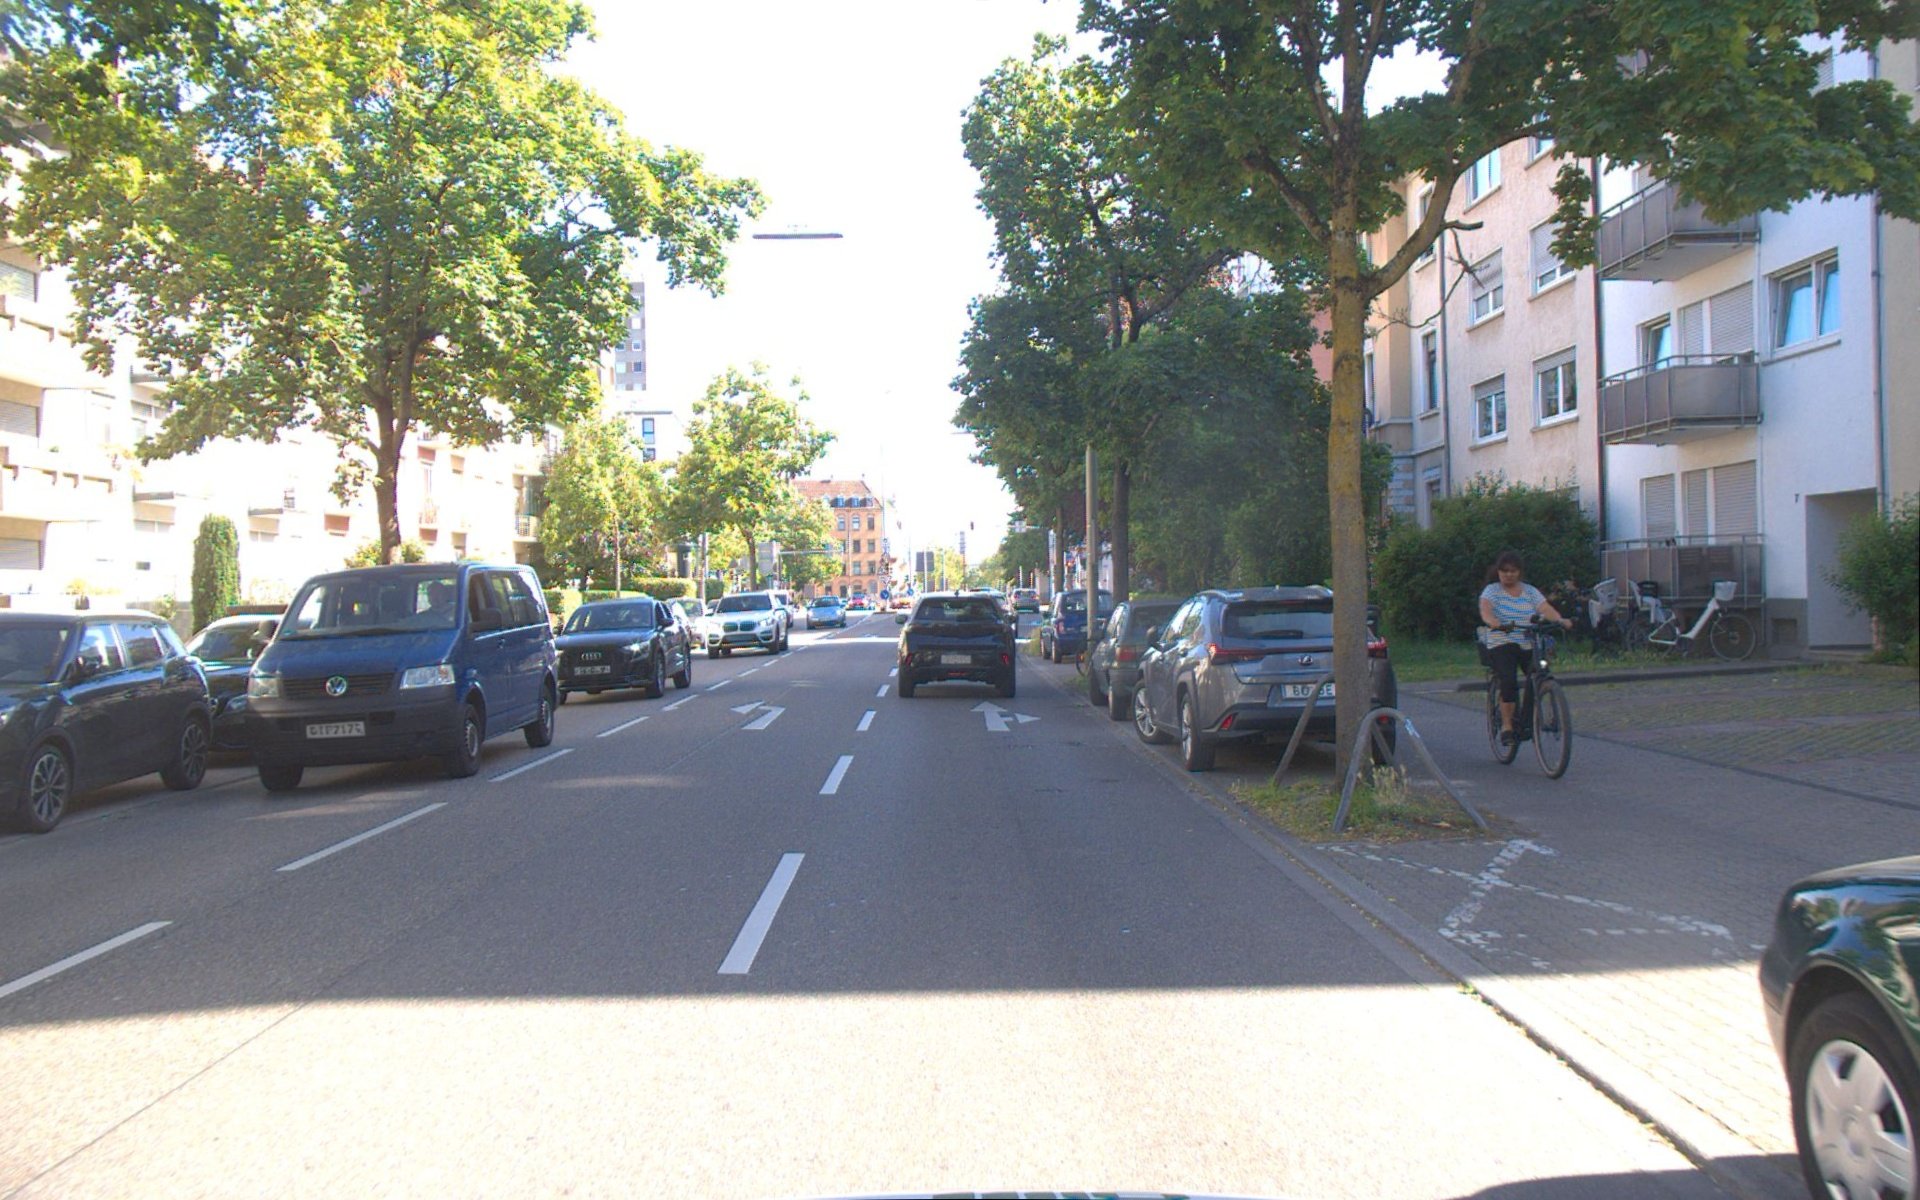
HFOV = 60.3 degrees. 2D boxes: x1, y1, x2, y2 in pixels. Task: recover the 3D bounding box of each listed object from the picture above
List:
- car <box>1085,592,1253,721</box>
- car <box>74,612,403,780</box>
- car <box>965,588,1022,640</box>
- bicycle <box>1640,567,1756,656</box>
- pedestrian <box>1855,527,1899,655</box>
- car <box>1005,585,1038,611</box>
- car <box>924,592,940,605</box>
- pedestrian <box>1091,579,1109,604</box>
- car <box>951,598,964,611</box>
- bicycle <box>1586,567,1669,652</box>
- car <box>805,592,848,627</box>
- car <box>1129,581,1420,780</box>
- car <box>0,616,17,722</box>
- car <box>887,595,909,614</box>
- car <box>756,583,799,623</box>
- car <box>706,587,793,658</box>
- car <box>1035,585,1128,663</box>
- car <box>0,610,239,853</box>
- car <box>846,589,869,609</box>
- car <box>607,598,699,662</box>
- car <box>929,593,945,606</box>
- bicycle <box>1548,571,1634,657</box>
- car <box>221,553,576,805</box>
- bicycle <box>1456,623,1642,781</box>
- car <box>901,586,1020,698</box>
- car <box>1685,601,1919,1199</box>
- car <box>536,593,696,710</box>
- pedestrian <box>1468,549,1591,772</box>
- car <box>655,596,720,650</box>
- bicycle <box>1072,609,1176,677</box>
[{"bbox_3d":[2.560,0.639,21.074,1.579,1.407,3.976,-2,1,0],"label":"car"},{"bbox_3d":[-7.858,0.954,18.542,1.687,1.562,4.679,-1,0,-1],"label":"car"},{"bbox_3d":[1.096,0.455,55.708,1.793,1.606,3.839,-2,1,0],"label":"car"},{"bbox_3d":[11.266,0.178,25.264,1.506,1.244,0.463,-4,0,30],"label":"bicycle"},{"bbox_3d":[12.849,-0.127,23.182,0.357,1.767,0.365,2,0,-7],"label":"pedestrian"},{"bbox_3d":[3.694,-0.123,99.934,1.793,1.478,3.988,-2,1,0],"label":"car"},{"bbox_3d":[-3.349,-0.170,196.522,1.774,1.431,3.999,-2,1,-1],"label":"car"},{"bbox_3d":[9.501,-0.580,112.068,1.020,1.688,0.783,-2,0,-5],"label":"pedestrian"},{"bbox_3d":[-0.320,0.624,231.452,1.822,1.689,4.000,1,0,1],"label":"car"},{"bbox_3d":[10.957,0.140,27.194,0.579,1.309,1.689,-4,0,0],"label":"bicycle"},{"bbox_3d":[-6.117,0.426,75.959,1.702,1.405,3.935,-3,1,-2],"label":"car"},{"bbox_3d":[2.730,0.622,15.291,1.680,1.515,4.232,-2,1,-2],"label":"car"},{"bbox_3d":[-15.631,1.026,23.007,3.906,1.512,1.880,-1,1,-2],"label":"car"},{"bbox_3d":[-5.173,0.347,138.111,1.735,1.478,3.885,-2,1,-1],"label":"car"},{"bbox_3d":[-8.971,0.123,81.487,1.782,1.866,4.560,-1,0,-3],"label":"car"},{"bbox_3d":[-5.615,0.562,44.536,1.770,1.676,4.671,-4,1,-2],"label":"car"},{"bbox_3d":[2.641,0.497,36.621,1.528,1.541,3.653,-4,1,-3],"label":"car"},{"bbox_3d":[-7.526,0.932,13.291,1.687,1.624,4.135,-1,0,-1],"label":"car"},{"bbox_3d":[-9.186,-0.113,148.792,1.754,1.645,4.000,-2,1,0],"label":"car"},{"bbox_3d":[-8.165,0.766,44.340,1.749,1.519,4.492,-2,1,-2],"label":"car"},{"bbox_3d":[-2.895,-0.041,210.914,1.952,1.546,4.000,1,0,1],"label":"car"},{"bbox_3d":[10.290,0.206,27.029,0.610,1.309,1.842,-4,0,0],"label":"bicycle"},{"bbox_3d":[-5.169,0.629,15.976,1.767,1.944,4.711,-4,1,-1],"label":"car"},{"bbox_3d":[4.657,0.764,13.242,0.668,1.088,2.127,-2,0,-1],"label":"bicycle"},{"bbox_3d":[-0.024,0.591,25.512,1.710,1.601,3.557,0,0,-1],"label":"car"},{"bbox_3d":[2.846,0.738,2.502,1.657,1.453,4.147,-2,0,0],"label":"car"},{"bbox_3d":[-5.510,0.765,27.012,1.684,1.593,4.341,-4,1,-1],"label":"car"},{"bbox_3d":[4.561,0.467,13.292,0.656,1.711,0.776,-2,0,-1],"label":"pedestrian"},{"bbox_3d":[-8.341,0.666,50.909,1.642,1.552,3.655,0,1,-4],"label":"car"},{"bbox_3d":[2.825,0.741,28.489,1.703,1.040,0.524,-4,-2,7],"label":"bicycle"}]
